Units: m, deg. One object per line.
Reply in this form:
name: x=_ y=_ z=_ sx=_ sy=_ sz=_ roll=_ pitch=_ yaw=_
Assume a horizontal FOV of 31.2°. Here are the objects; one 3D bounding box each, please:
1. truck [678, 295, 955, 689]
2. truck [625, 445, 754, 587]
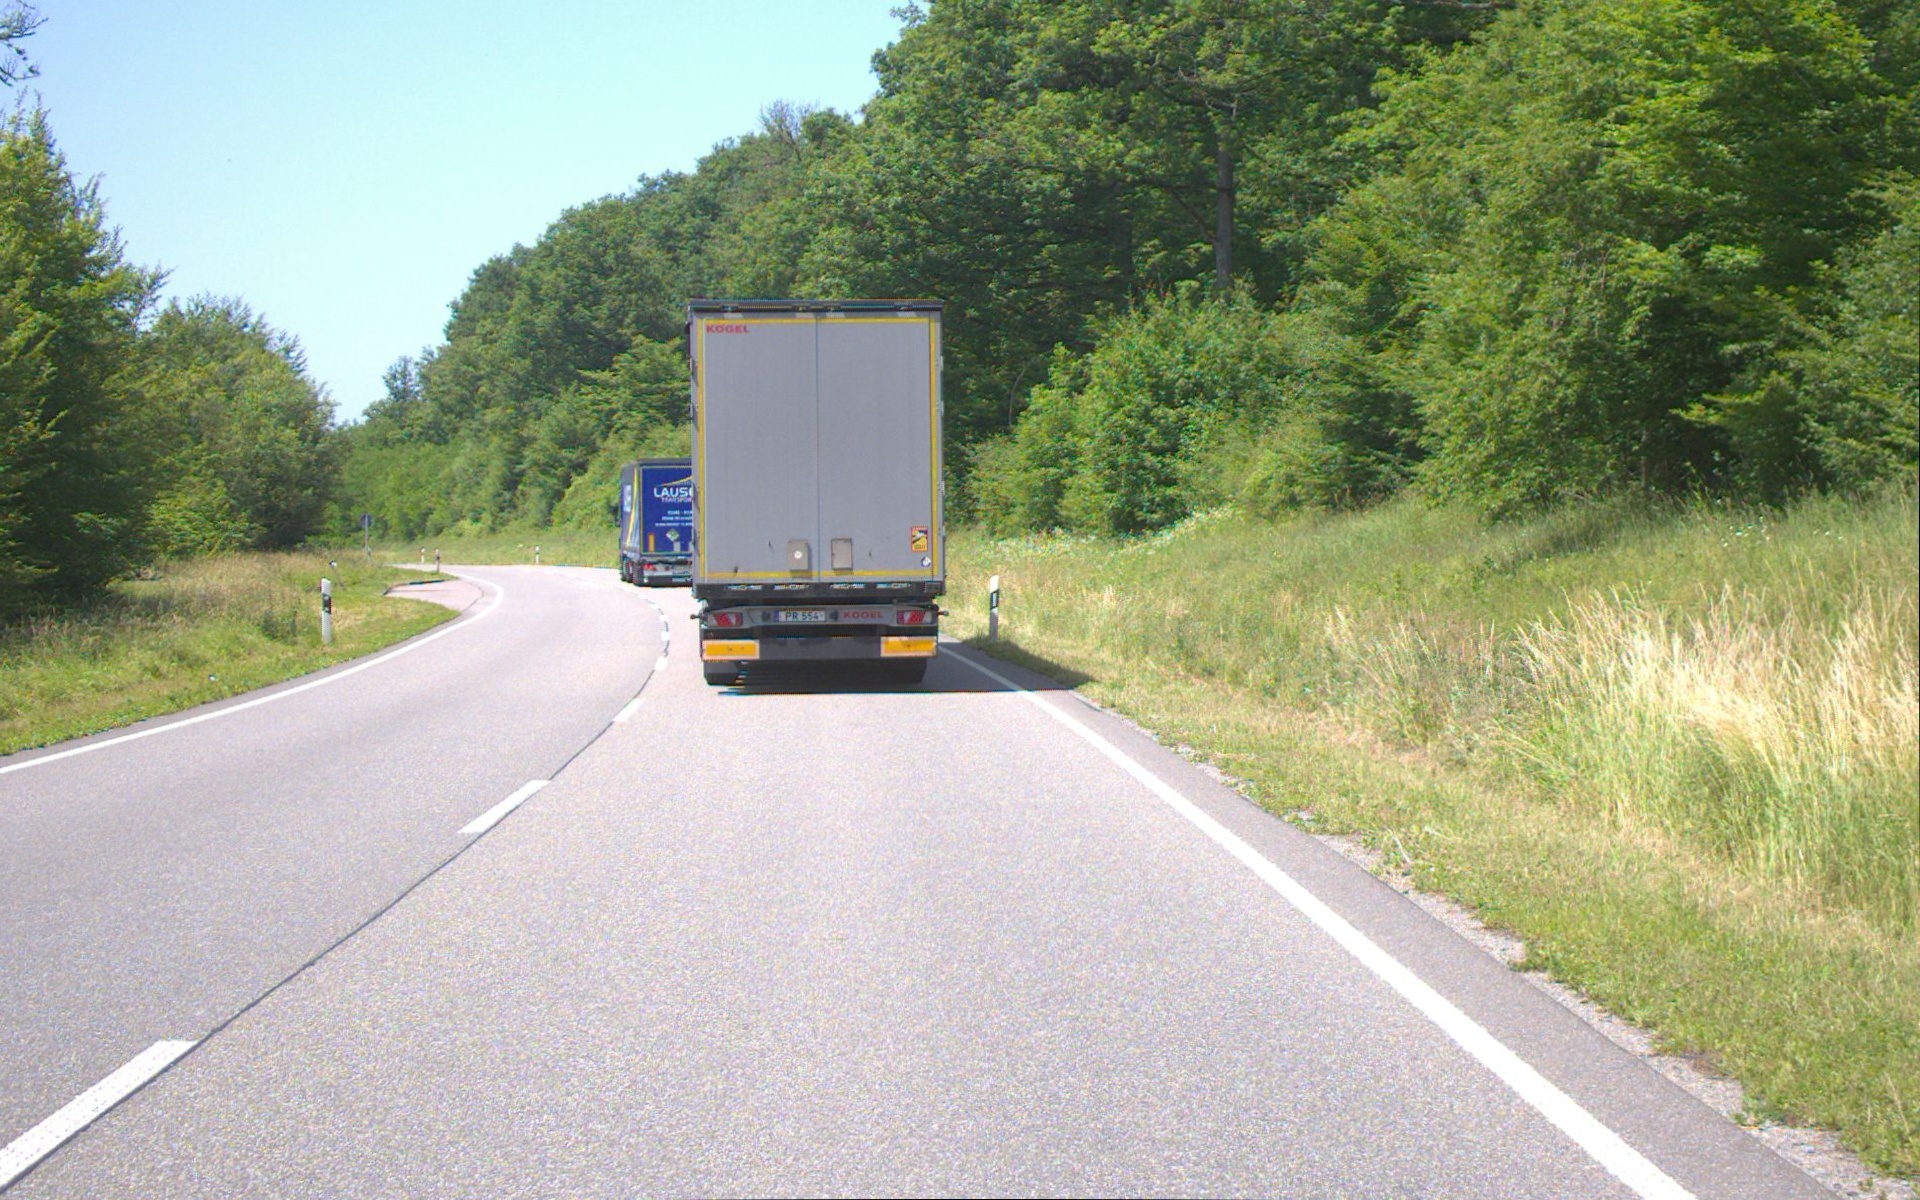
truck: x=-1.698 y=-1.195 z=40.493 sx=2.761 sy=3.933 sz=12.199 roll=0 pitch=1 yaw=-2
truck: x=-9.088 y=-2.743 z=113.725 sx=3.792 sy=4.358 sz=14.923 roll=1 pitch=1 yaw=-6
